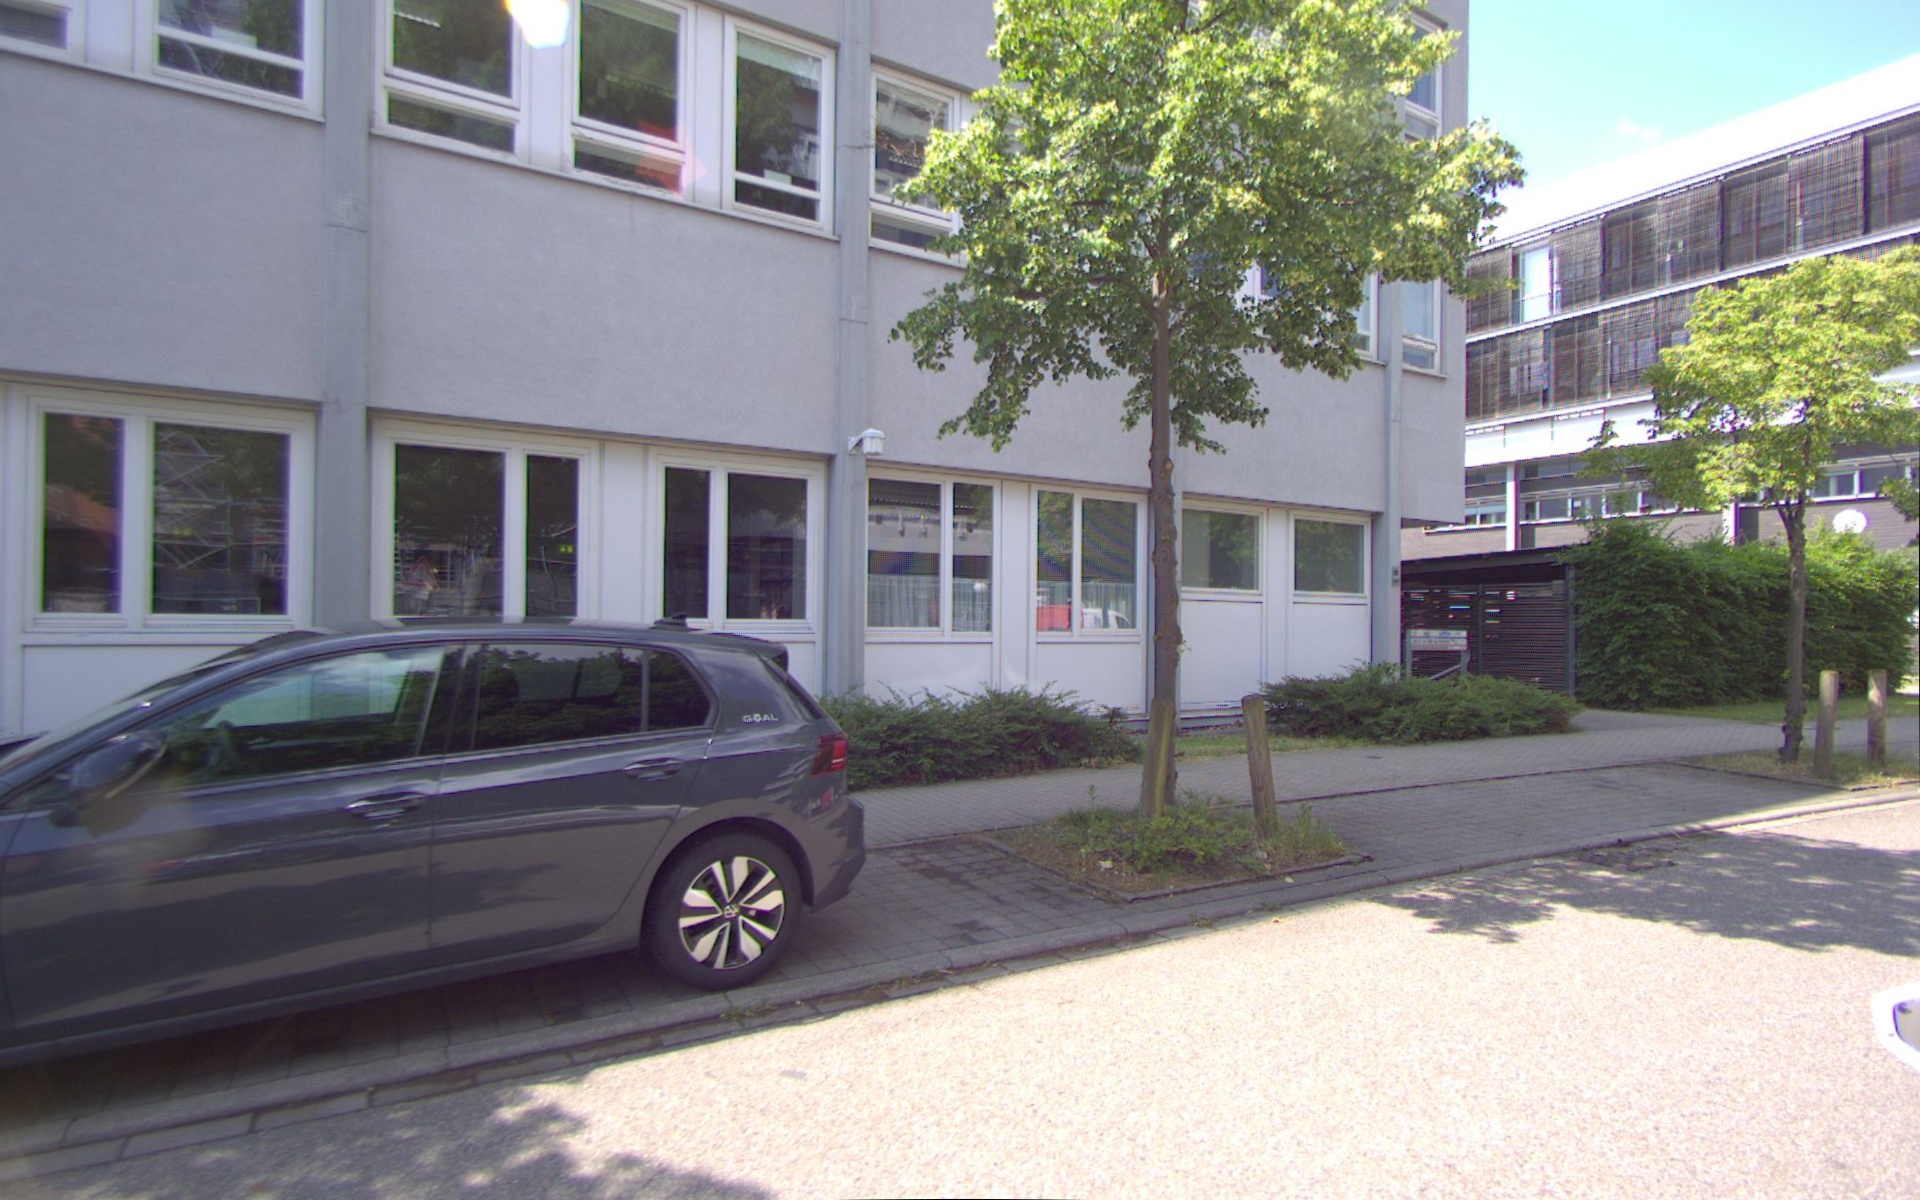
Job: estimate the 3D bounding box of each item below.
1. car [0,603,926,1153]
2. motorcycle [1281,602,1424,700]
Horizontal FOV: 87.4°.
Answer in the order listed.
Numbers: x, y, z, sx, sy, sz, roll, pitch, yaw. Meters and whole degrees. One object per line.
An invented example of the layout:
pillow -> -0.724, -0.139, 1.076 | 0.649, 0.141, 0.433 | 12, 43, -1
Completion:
car -> -2.392, 0.783, 3.965 | 4.213, 1.480, 1.767 | 1, 0, -33
motorcycle -> 6.742, 0.841, 17.360 | 1.071, 1.571, 2.083 | 1, -1, -34
